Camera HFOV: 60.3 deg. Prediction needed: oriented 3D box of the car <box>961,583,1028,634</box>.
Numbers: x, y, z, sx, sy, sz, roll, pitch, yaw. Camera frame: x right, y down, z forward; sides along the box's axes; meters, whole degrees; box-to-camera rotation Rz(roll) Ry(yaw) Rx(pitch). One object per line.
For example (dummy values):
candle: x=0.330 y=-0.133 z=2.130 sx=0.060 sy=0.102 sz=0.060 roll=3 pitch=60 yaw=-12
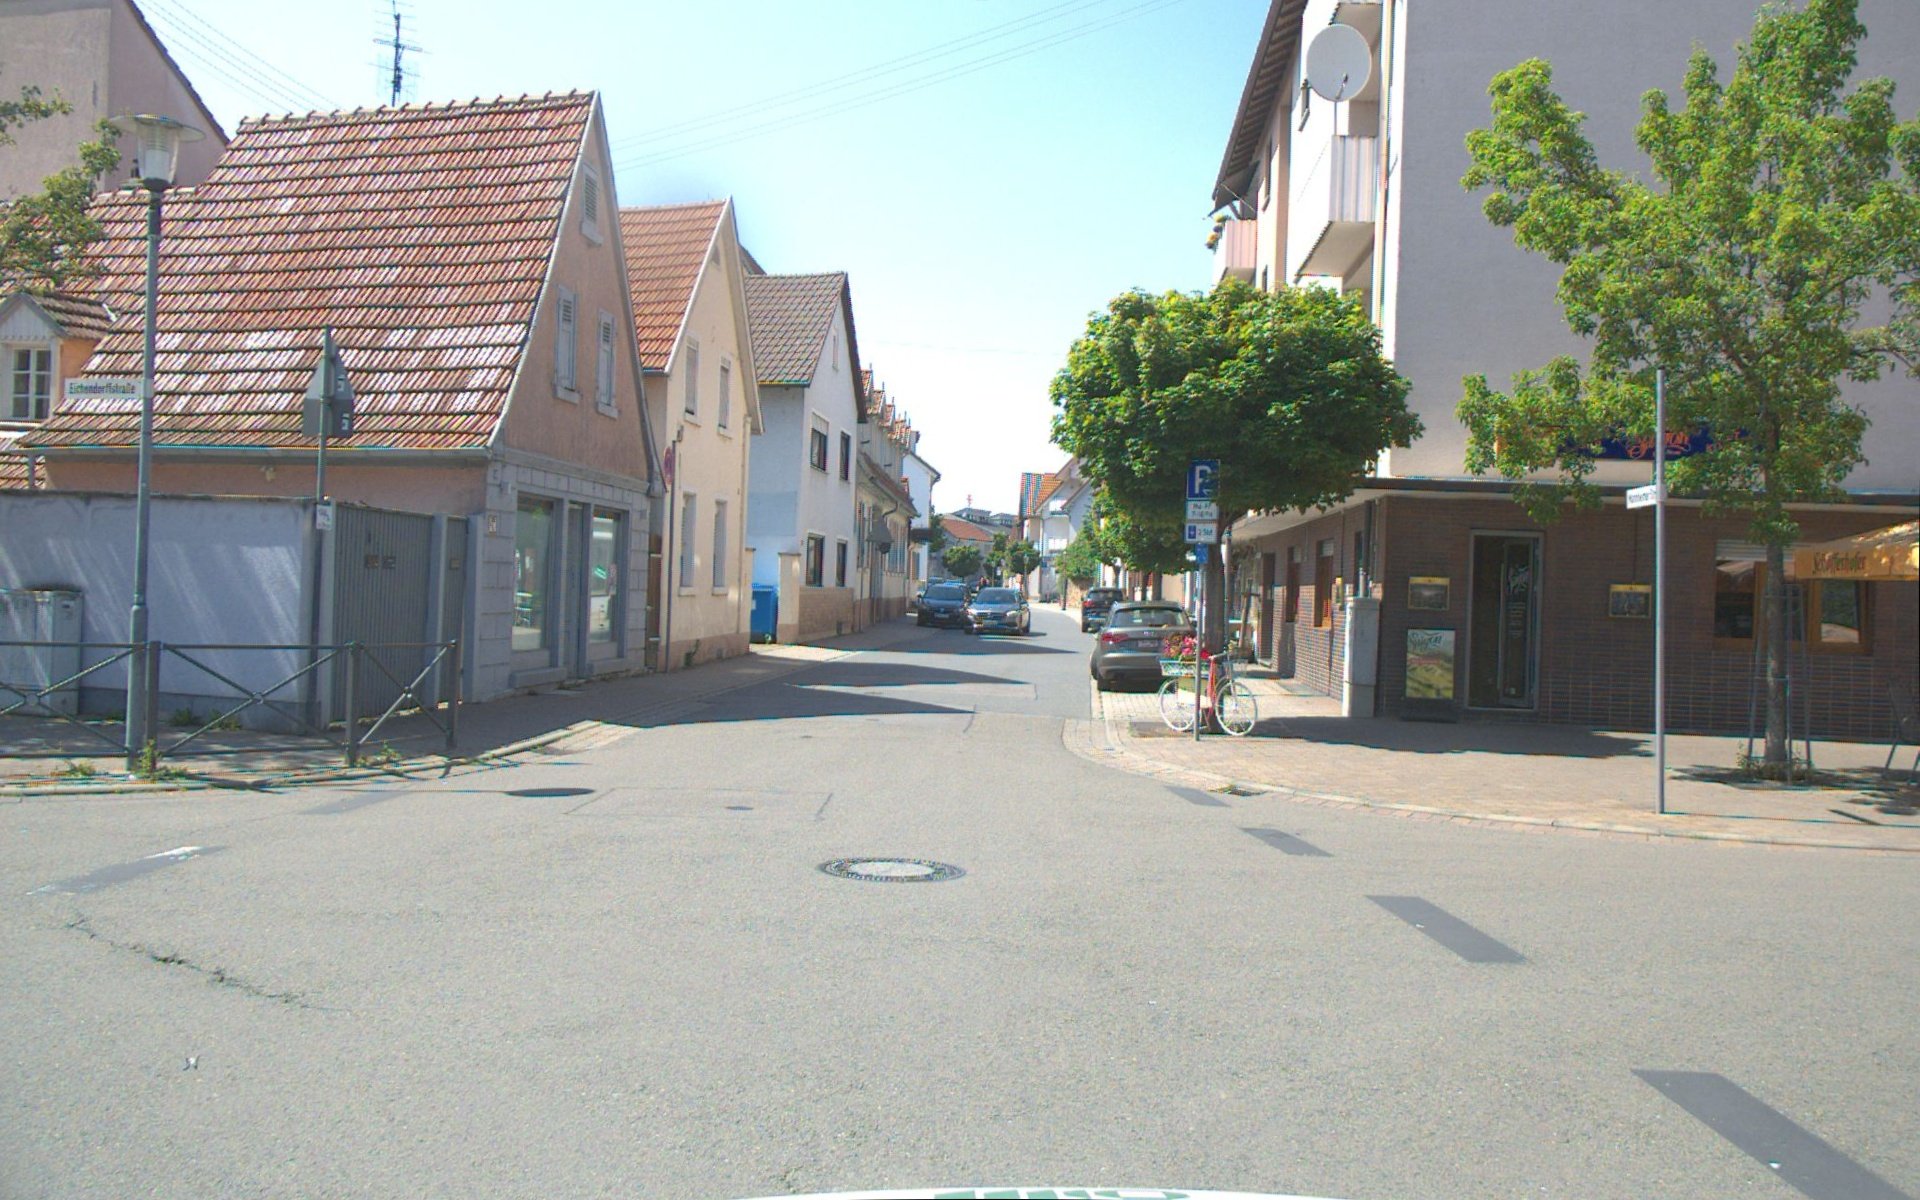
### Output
car: x=1.189 y=0.256 z=54.644 sx=1.869 sy=1.507 sz=4.848 roll=1 pitch=1 yaw=5

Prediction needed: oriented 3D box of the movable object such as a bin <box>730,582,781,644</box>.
movable object such as a bin: x=-4.668 y=0.298 z=37.771 sx=1.078 sy=1.389 sz=0.390 roll=1 pitch=0 yaw=7

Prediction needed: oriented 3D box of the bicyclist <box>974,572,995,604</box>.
bicyclist: x=1.278 y=-0.619 z=87.079 sx=1.025 sy=1.666 sz=1.128 roll=1 pitch=0 yaw=-2

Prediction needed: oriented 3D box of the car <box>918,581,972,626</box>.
car: x=-0.505 y=0.113 z=58.975 sx=1.628 sy=1.501 sz=4.136 roll=1 pitch=0 yaw=3

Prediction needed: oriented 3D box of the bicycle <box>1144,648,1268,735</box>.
bicycle: x=2.820 y=1.038 z=19.023 sx=1.388 sy=0.912 sz=0.462 roll=1 pitch=1 yaw=41

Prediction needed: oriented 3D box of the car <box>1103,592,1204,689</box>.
car: x=3.192 y=0.630 z=27.647 sx=1.542 sy=1.479 sz=3.488 roll=1 pitch=0 yaw=5

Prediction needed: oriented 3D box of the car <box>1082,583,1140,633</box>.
car: x=5.564 y=0.268 z=61.450 sx=2.000 sy=1.718 sz=4.844 roll=1 pitch=0 yaw=4

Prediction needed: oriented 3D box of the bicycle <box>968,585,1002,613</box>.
bicycle: x=1.313 y=-0.056 z=87.464 sx=1.591 sy=1.394 sz=3.924 roll=1 pitch=0 yaw=-2
